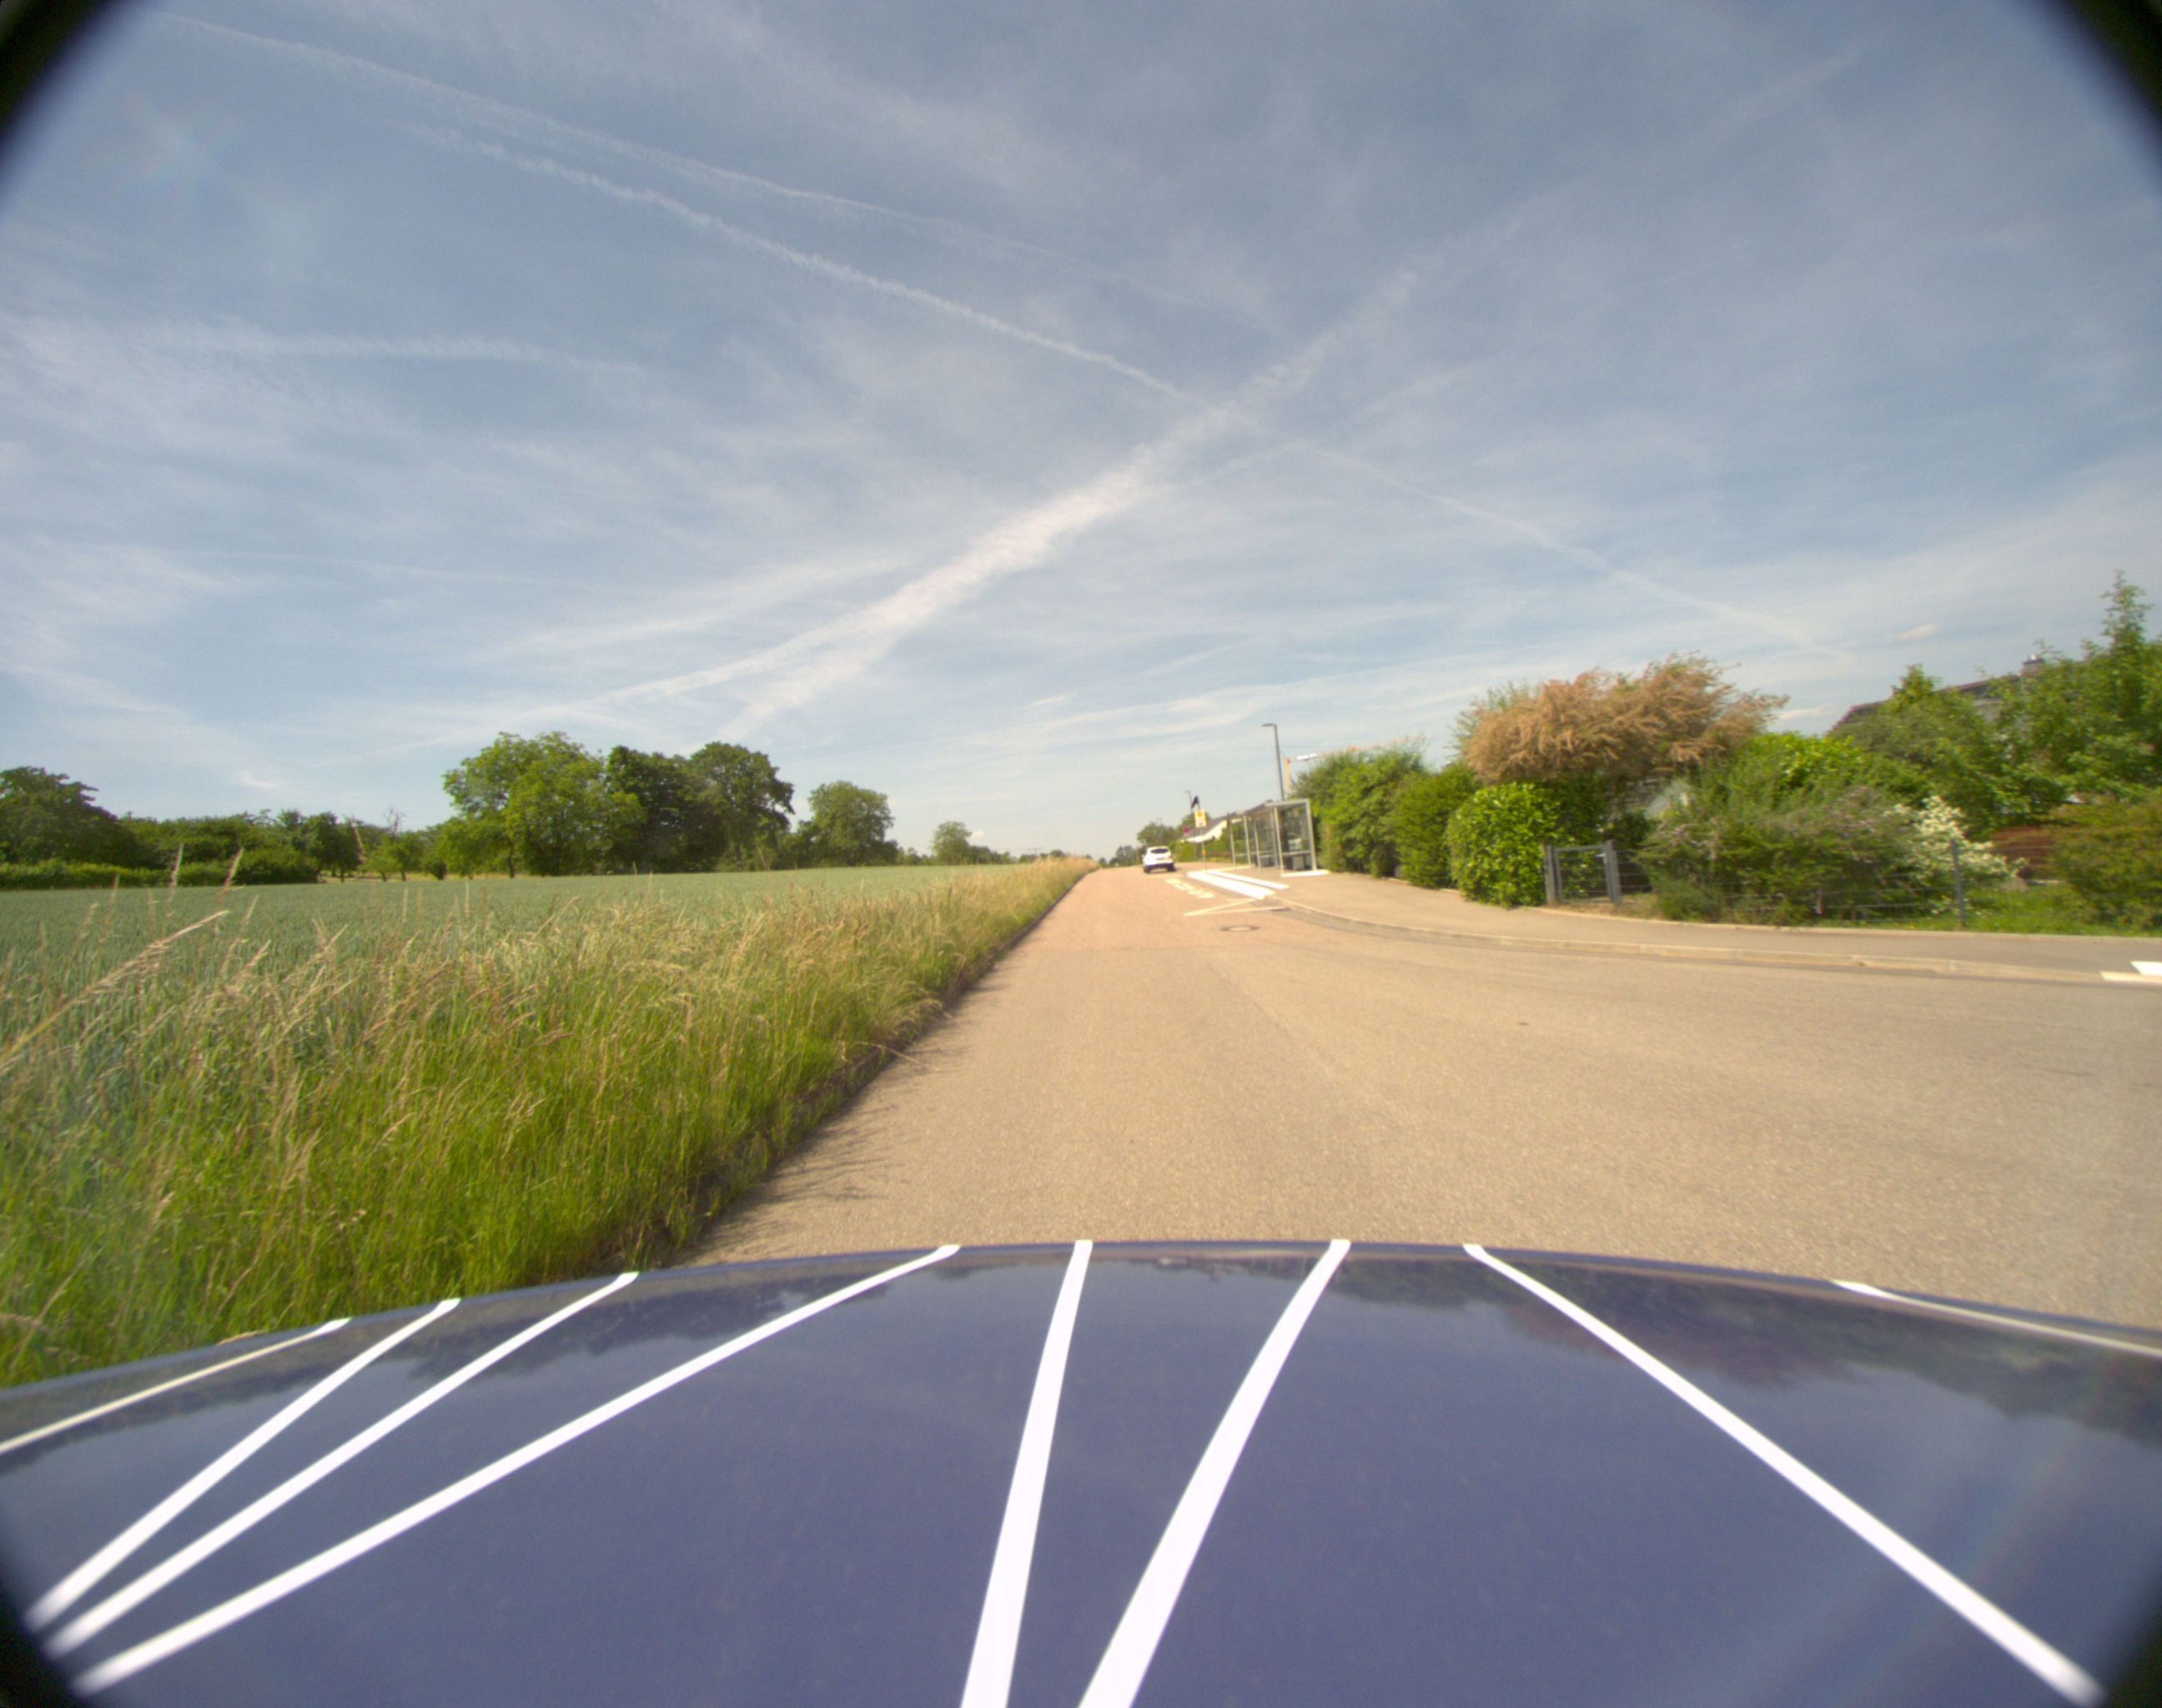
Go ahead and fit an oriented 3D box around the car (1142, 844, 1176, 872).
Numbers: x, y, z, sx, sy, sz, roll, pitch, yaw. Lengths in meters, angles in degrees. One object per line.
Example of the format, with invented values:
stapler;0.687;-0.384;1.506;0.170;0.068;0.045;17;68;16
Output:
car;5.026;0.254;49.358;1.738;1.624;4.352;-5;0;1
